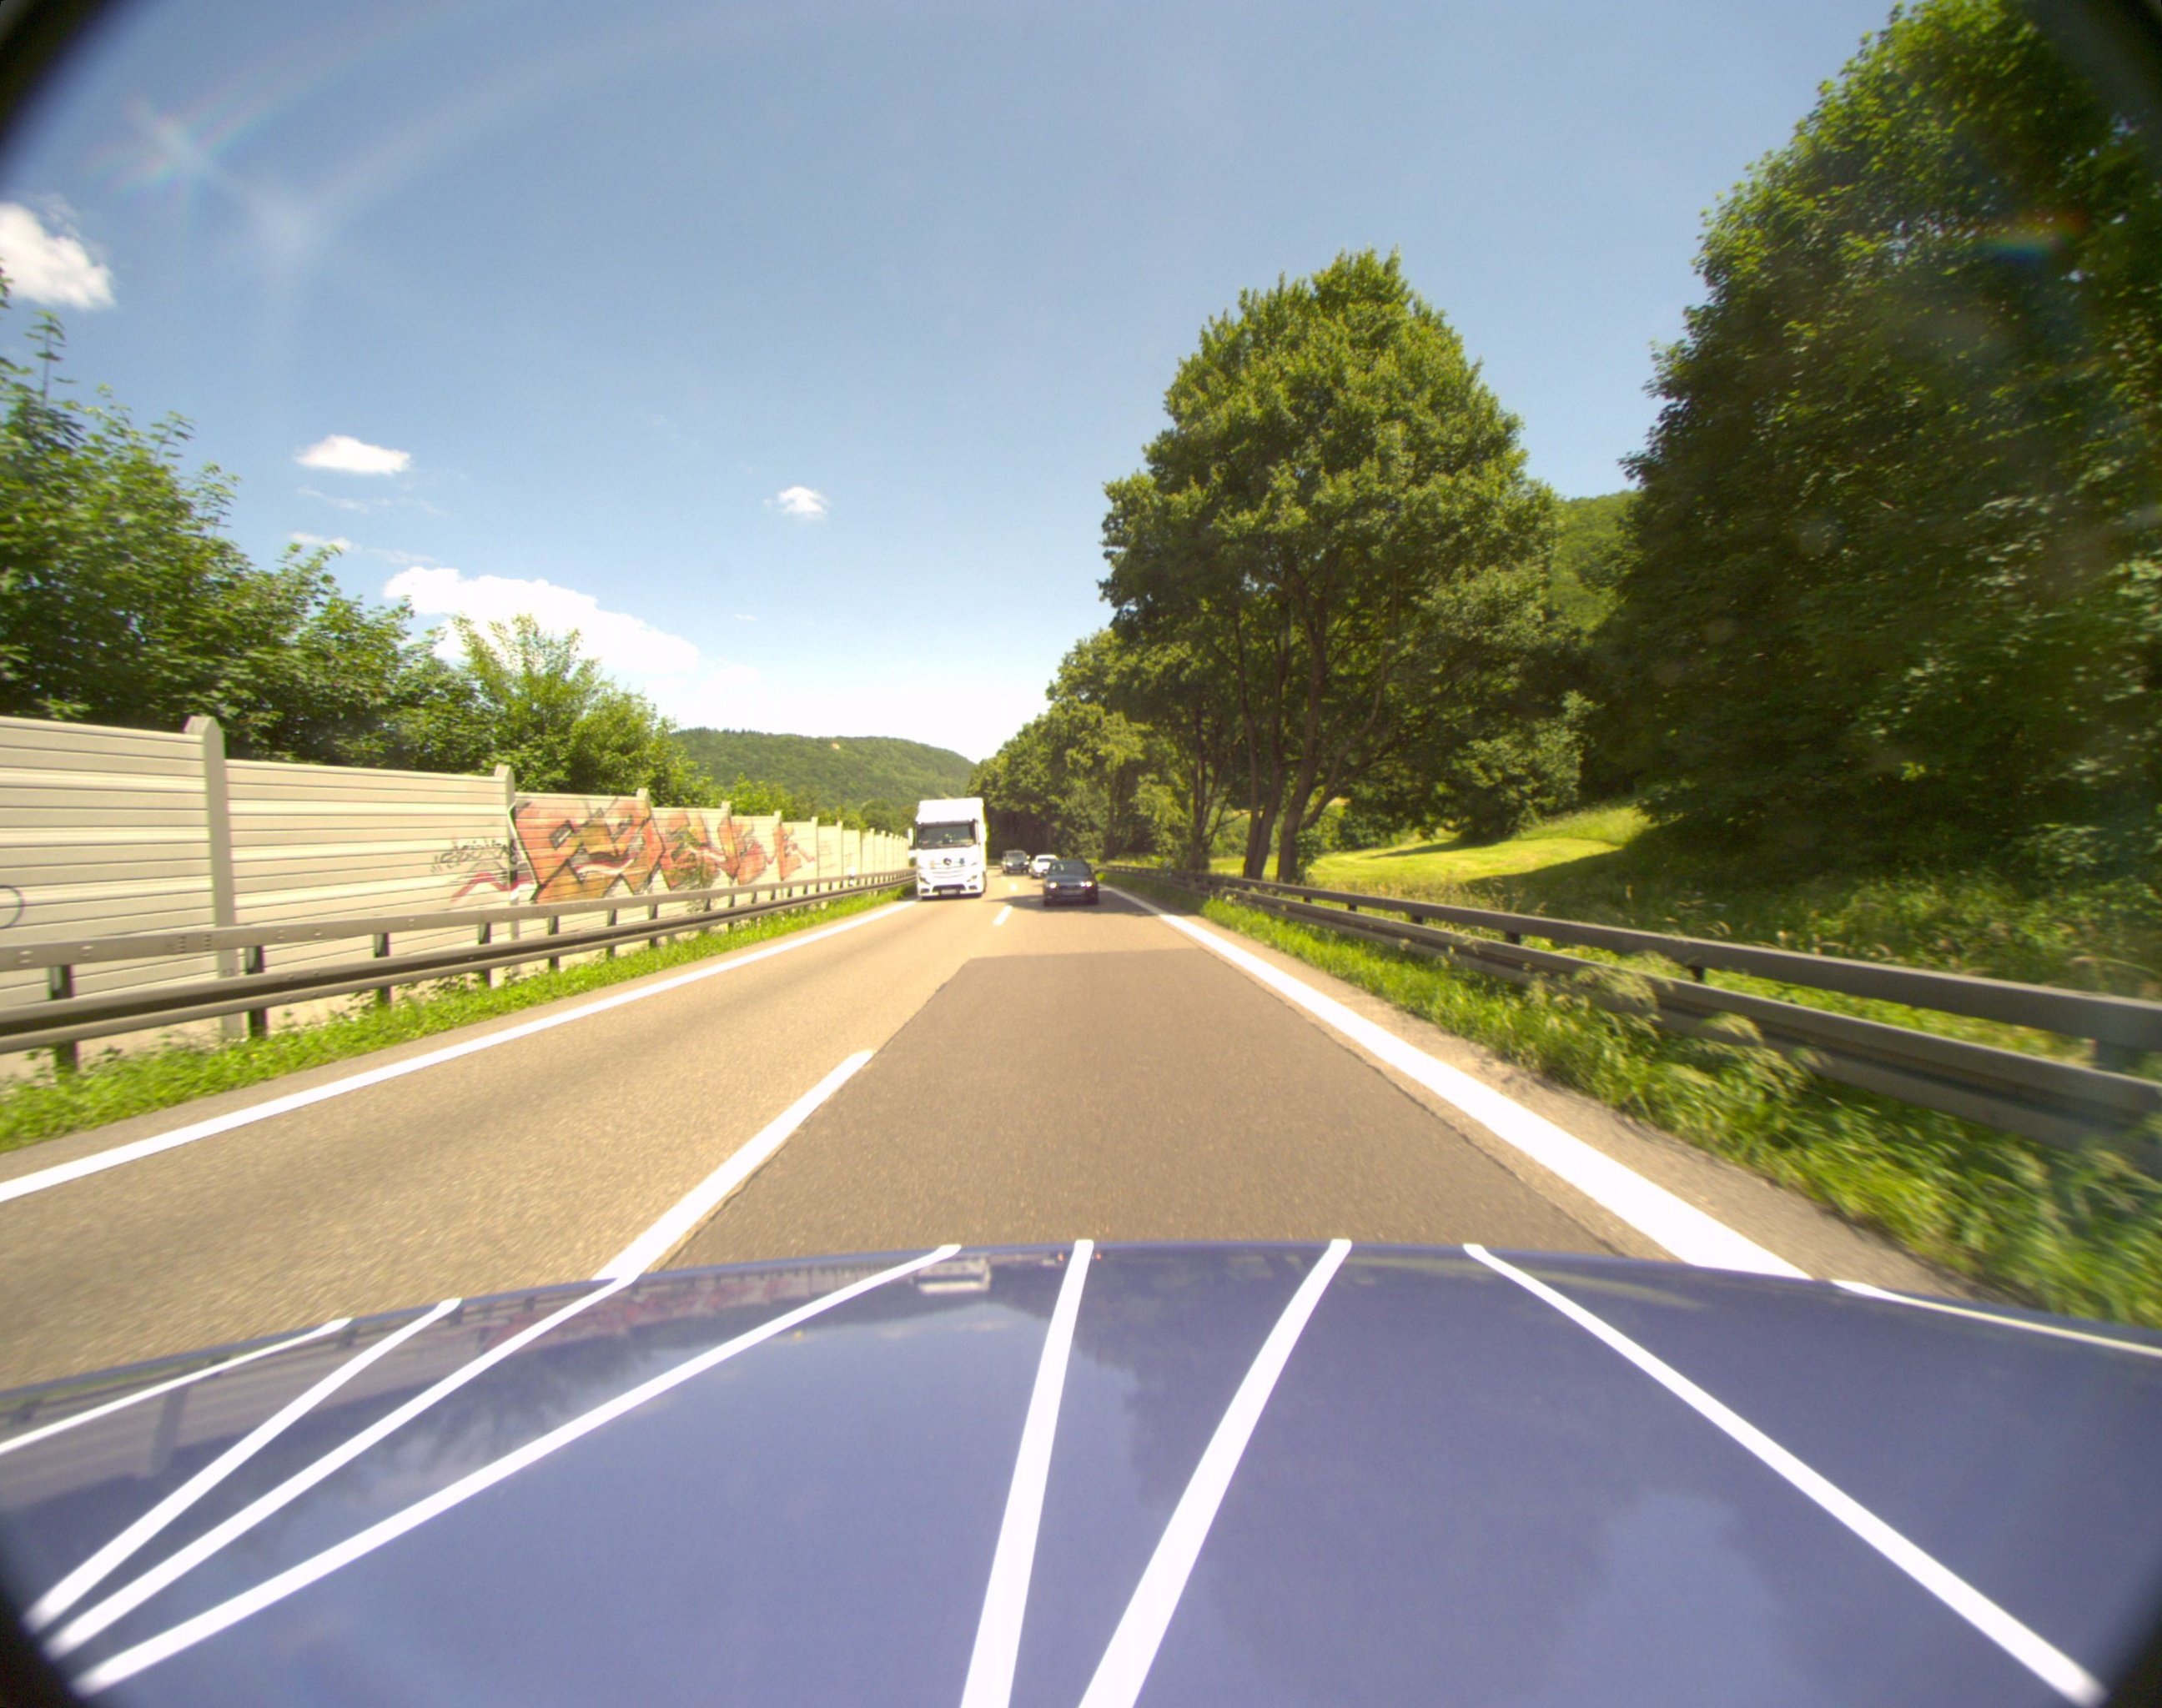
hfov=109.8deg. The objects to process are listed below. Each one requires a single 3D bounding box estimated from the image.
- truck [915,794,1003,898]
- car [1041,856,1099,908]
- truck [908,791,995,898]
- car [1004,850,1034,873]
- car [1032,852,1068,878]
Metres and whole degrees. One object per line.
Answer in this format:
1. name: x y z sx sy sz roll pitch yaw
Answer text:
1. truck: -5.622 -0.379 37.355 2.862 4.124 12.042 -3 1 -3
2. car: -0.296 0.850 24.312 1.662 1.435 3.475 -3 0 1
3. truck: -5.351 -0.369 32.493 2.765 4.015 6.821 -2 0 -3
4. car: -5.345 0.670 65.146 2.045 1.855 3.996 -1 0 -11
5. car: -2.074 0.701 49.115 1.717 1.541 3.996 -2 0 -11
